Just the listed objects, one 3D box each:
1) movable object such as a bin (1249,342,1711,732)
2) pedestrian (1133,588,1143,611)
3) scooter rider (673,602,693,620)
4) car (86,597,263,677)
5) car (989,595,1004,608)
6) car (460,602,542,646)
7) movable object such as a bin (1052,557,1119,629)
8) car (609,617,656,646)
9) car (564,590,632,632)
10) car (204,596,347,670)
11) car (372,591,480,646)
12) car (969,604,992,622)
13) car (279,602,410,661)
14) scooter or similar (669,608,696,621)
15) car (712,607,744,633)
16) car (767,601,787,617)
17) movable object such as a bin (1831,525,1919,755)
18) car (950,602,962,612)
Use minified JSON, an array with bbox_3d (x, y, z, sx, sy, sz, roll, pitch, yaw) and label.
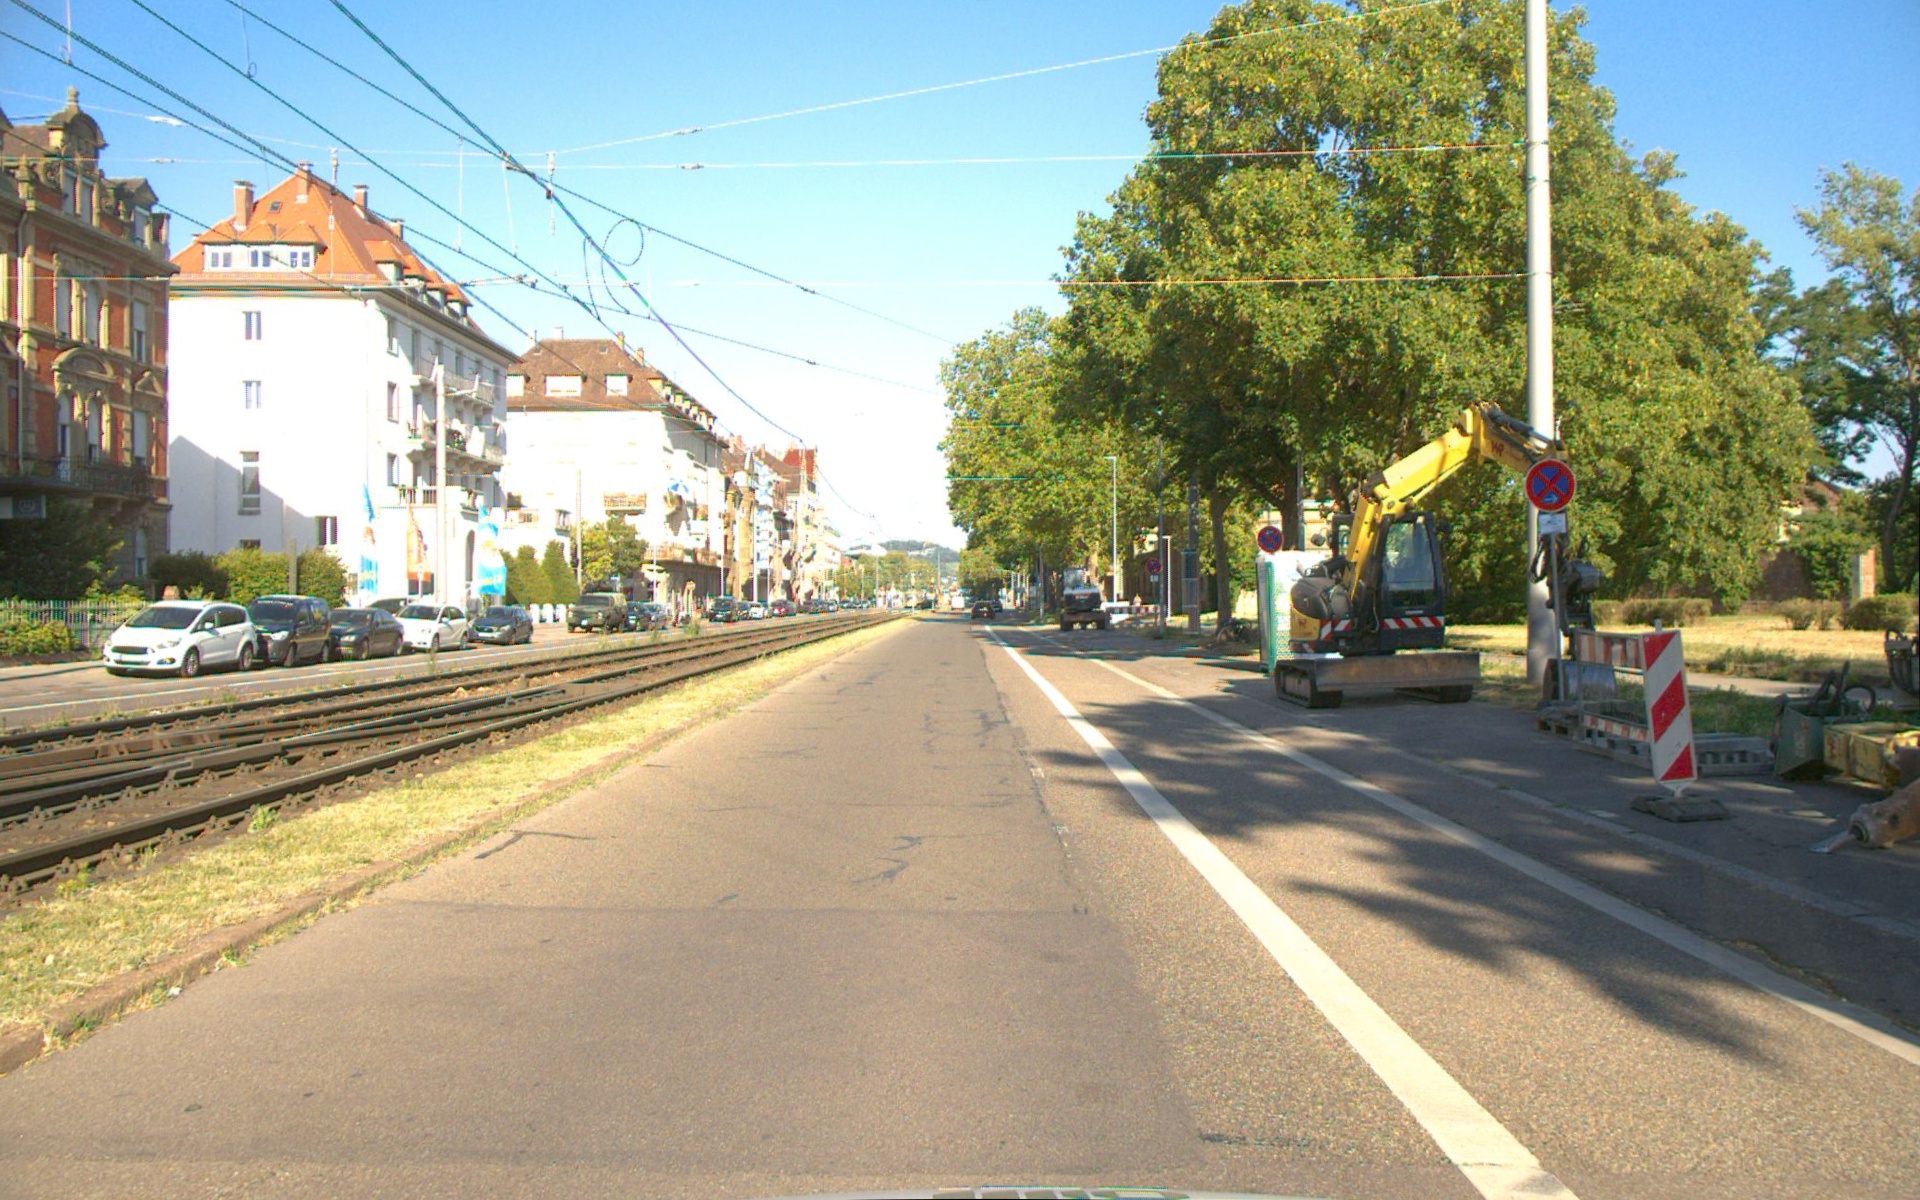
[{"bbox_3d":[6.328,-0.706,21.772,3.271,4.045,7.595,-3,0,-2],"label":"movable object such as a bin"},{"bbox_3d":[13.802,-0.021,128.222,0.596,1.711,0.636,-4,0,-2],"label":"pedestrian"},{"bbox_3d":[-17.265,0.684,103.097,0.958,1.108,0.806,-1,0,31],"label":"scooter rider"},{"bbox_3d":[-18.276,0.814,38.741,1.881,1.713,4.627,1,0,0],"label":"car"},{"bbox_3d":[4.489,0.171,205.423,1.757,1.537,3.999,0,0,-1],"label":"car"},{"bbox_3d":[-17.937,0.920,64.841,1.882,1.486,4.840,5,0,-2],"label":"car"},{"bbox_3d":[6.102,-0.340,81.194,2.688,3.200,7.220,-4,0,1],"label":"movable object such as a bin"},{"bbox_3d":[-17.909,1.721,90.643,1.601,1.534,4.160,0,-1,2],"label":"car"},{"bbox_3d":[-18.379,0.540,84.256,2.034,2.045,5.593,1,0,2],"label":"car"},{"bbox_3d":[-18.090,0.827,43.924,1.881,1.812,4.498,1,0,0],"label":"car"},{"bbox_3d":[-17.938,0.584,55.759,1.880,1.724,4.843,1,0,2],"label":"car"},{"bbox_3d":[1.651,1.051,136.918,1.796,1.415,4.158,0,0,-1],"label":"car"},{"bbox_3d":[-18.094,0.876,48.907,1.880,1.588,4.843,1,0,2],"label":"car"},{"bbox_3d":[-17.298,0.881,103.116,1.536,0.784,0.806,-1,0,31],"label":"scooter or similar"},{"bbox_3d":[-17.831,1.505,127.368,1.824,1.817,4.401,1,1,-1],"label":"car"},{"bbox_3d":[-18.302,0.887,165.619,1.797,1.415,4.031,3,0,-5],"label":"car"},{"bbox_3d":[7.797,0.246,12.798,1.290,1.696,1.303,-7,0,3],"label":"movable object such as a bin"},{"bbox_3d":[-0.603,1.028,241.856,1.758,1.537,3.999,1,-1,-1],"label":"car"}]
